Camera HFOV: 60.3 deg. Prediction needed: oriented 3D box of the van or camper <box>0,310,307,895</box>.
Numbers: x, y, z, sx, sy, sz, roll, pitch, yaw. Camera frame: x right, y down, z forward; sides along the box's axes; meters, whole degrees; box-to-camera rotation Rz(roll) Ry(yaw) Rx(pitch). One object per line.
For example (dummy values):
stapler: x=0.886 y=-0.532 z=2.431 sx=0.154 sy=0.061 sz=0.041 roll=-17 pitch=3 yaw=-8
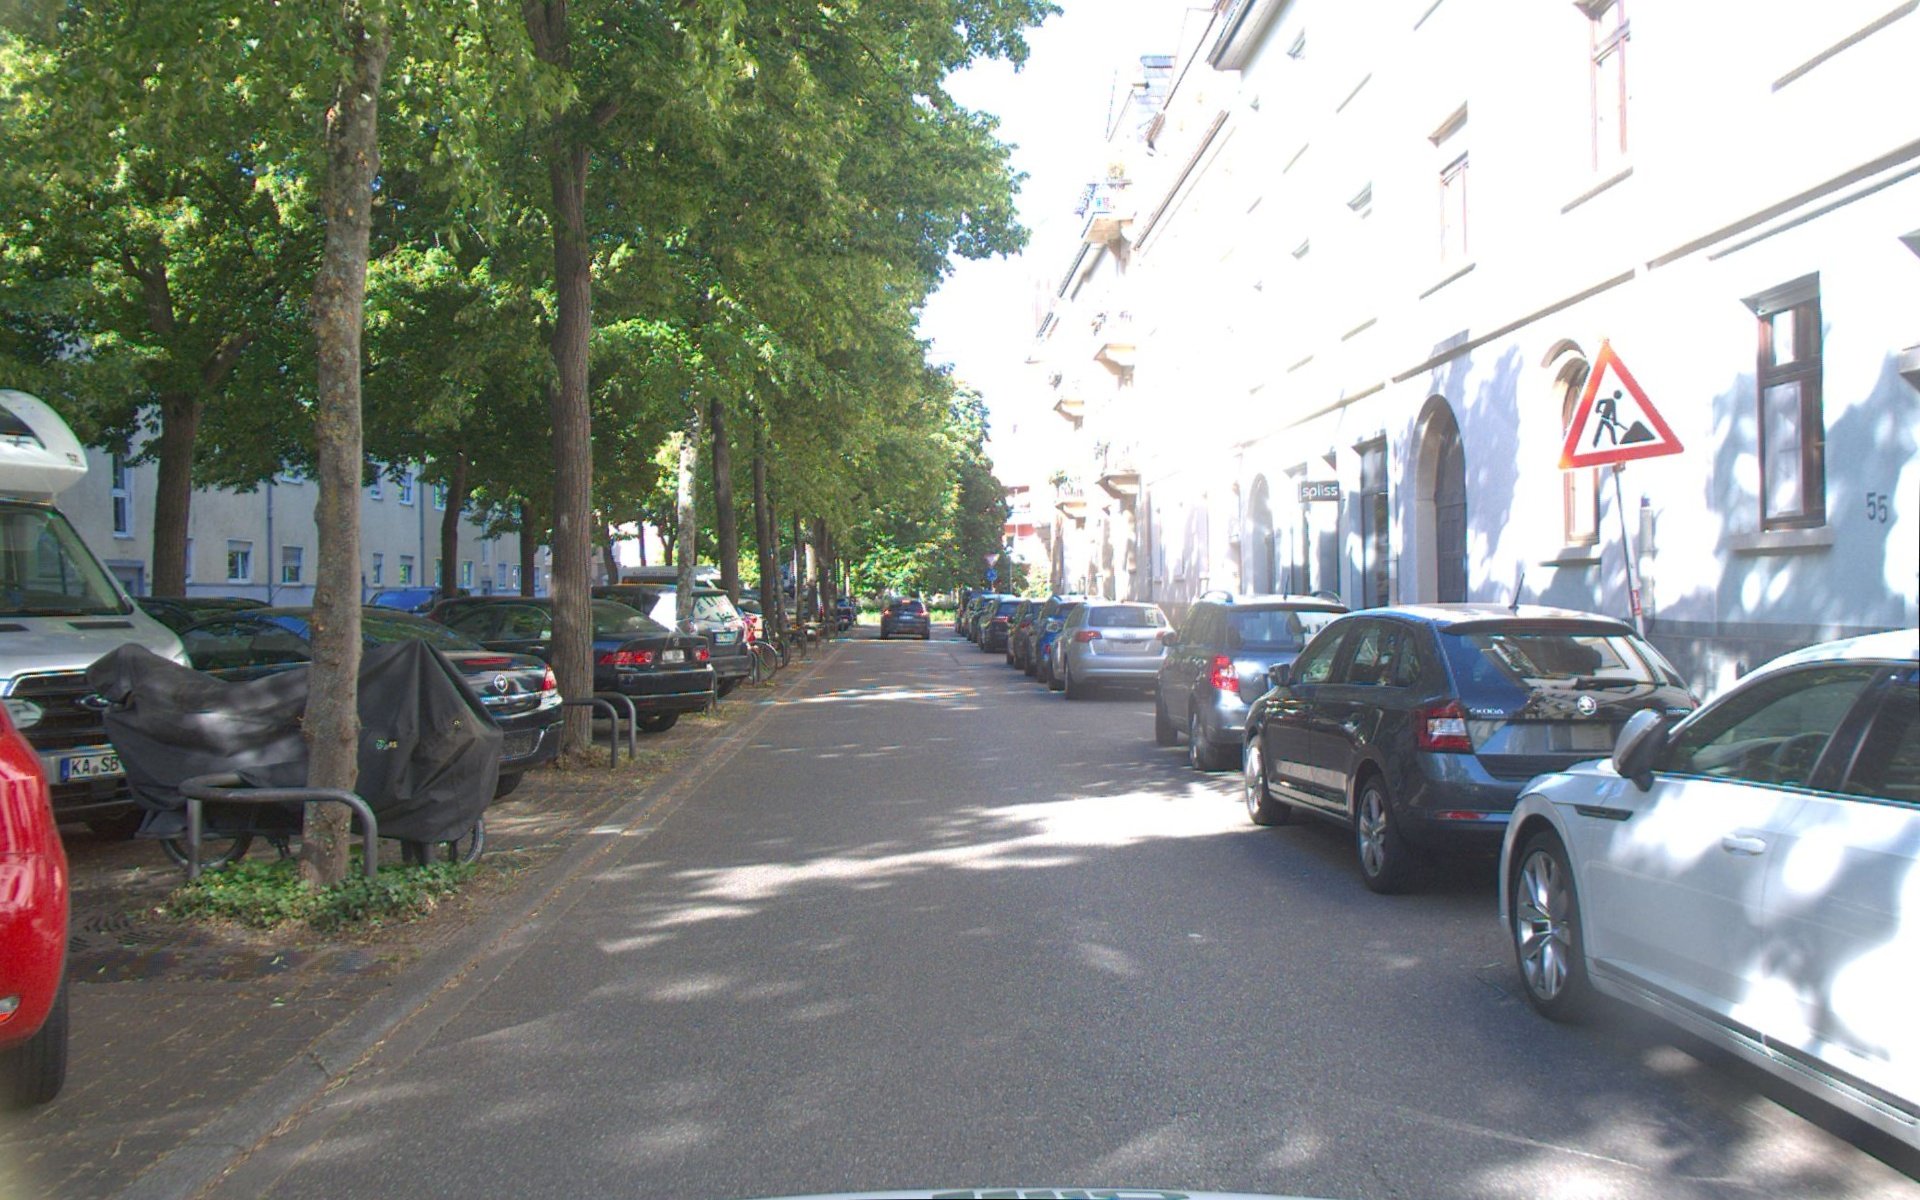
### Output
van or camper: x=-7.160 y=0.003 z=10.141 sx=6.163 sy=2.874 sz=2.405 roll=0 pitch=0 yaw=27

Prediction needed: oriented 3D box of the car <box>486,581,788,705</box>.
car: x=-4.705 y=0.574 z=24.074 sx=3.995 sy=1.682 sz=1.862 roll=0 pitch=0 yaw=25

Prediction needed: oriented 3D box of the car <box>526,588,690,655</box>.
car: x=-9.057 y=0.561 z=42.540 sx=3.829 sy=1.583 sz=1.843 roll=-2 pitch=0 yaw=29

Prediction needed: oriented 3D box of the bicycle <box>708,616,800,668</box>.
bicycle: x=-4.162 y=0.855 z=33.416 sx=1.772 sy=1.011 sz=0.426 roll=-1 pitch=0 yaw=13

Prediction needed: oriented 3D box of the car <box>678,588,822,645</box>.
car: x=-6.442 y=0.495 z=50.729 sx=4.178 sy=1.670 sz=1.653 roll=1 pitch=0 yaw=26

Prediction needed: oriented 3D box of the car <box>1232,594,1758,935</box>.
car: x=2.799 y=0.752 z=9.600 sx=1.567 sy=1.518 sz=3.964 roll=-2 pitch=0 yaw=-3

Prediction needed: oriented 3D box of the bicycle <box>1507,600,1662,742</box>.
bicycle: x=5.624 y=0.604 z=15.006 sx=0.399 sy=1.207 sz=1.843 roll=-1 pitch=0 yaw=-11

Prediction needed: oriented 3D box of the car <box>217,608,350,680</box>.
car: x=-17.139 y=1.076 z=42.124 sx=1.855 sy=1.592 sz=4.157 roll=-3 pitch=0 yaw=-4

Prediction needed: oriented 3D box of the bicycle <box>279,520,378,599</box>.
bicycle: x=-10.134 y=-0.636 z=26.604 sx=0.348 sy=1.221 sz=1.801 roll=0 pitch=0 yaw=21

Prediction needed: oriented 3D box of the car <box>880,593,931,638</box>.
car: x=-1.948 y=0.548 z=60.014 sx=1.679 sy=1.509 sz=4.144 roll=-2 pitch=0 yaw=-1

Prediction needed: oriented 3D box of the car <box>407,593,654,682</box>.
car: x=-7.648 y=0.644 z=29.434 sx=4.022 sy=1.498 sz=1.870 roll=-1 pitch=0 yaw=27

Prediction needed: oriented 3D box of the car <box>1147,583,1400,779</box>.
car: x=2.779 y=0.656 z=15.475 sx=1.548 sy=1.578 sz=4.041 roll=-1 pitch=0 yaw=-1

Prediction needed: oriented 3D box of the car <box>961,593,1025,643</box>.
car: x=1.121 y=0.613 z=58.552 sx=1.827 sy=1.672 sz=4.487 roll=1 pitch=0 yaw=-4

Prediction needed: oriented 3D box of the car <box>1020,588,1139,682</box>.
car: x=2.140 y=0.595 z=30.604 sx=1.731 sy=1.579 sz=4.182 roll=-2 pitch=0 yaw=-2

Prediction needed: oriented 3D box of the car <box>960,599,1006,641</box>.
car: x=0.889 y=0.778 z=66.752 sx=1.612 sy=1.564 sz=3.998 roll=2 pitch=0 yaw=-2

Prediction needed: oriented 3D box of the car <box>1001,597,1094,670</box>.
car: x=1.840 y=0.688 z=35.770 sx=1.658 sy=1.493 sz=4.003 roll=0 pitch=0 yaw=-2

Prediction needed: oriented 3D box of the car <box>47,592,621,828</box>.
car: x=-4.577 y=0.712 z=11.958 sx=4.066 sy=1.450 sz=1.712 roll=-1 pitch=-1 yaw=30

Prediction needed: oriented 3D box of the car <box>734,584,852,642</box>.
car: x=-5.907 y=0.477 z=58.465 sx=3.769 sy=1.921 sz=1.840 roll=-1 pitch=1 yaw=32

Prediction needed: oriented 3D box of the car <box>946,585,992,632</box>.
car: x=0.357 y=0.372 z=71.843 sx=1.765 sy=1.903 sz=4.271 roll=2 pitch=0 yaw=-2

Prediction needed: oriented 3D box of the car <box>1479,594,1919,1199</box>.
car: x=2.984 y=0.724 z=4.343 sx=1.575 sy=1.445 sz=4.566 roll=-2 pitch=0 yaw=-3

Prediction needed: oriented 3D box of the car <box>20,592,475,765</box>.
car: x=-6.886 y=0.706 z=16.026 sx=3.905 sy=1.512 sz=1.830 roll=0 pitch=-1 yaw=21

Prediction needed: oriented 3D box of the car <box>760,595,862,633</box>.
car: x=-6.196 y=0.592 z=68.536 sx=4.016 sy=1.492 sz=1.861 roll=0 pitch=-1 yaw=-12

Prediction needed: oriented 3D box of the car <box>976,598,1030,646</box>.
car: x=1.315 y=0.677 z=52.047 sx=1.558 sy=1.440 sz=3.631 roll=1 pitch=0 yaw=-1

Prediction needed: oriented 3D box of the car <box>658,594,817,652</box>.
car: x=-6.049 y=0.626 z=44.868 sx=4.016 sy=1.507 sz=1.730 roll=-1 pitch=-1 yaw=27

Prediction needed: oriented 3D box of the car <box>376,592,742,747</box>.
car: x=-4.422 y=0.732 z=18.045 sx=3.936 sy=1.499 sz=1.622 roll=-2 pitch=0 yaw=33

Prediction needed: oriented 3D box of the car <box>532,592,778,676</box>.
car: x=-5.873 y=0.614 z=31.791 sx=4.524 sy=1.512 sz=1.759 roll=0 pitch=0 yaw=27

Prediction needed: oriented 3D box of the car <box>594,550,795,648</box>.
car: x=-8.744 y=-0.008 z=54.631 sx=5.937 sy=2.668 sz=2.457 roll=-5 pitch=-2 yaw=13

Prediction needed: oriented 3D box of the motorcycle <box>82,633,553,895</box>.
motorcycle: x=-3.298 y=0.816 z=8.599 sx=2.101 sy=1.251 sz=0.882 roll=-1 pitch=0 yaw=7

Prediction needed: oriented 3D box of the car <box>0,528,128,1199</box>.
car: x=-3.807 y=0.702 z=5.228 sx=1.644 sy=1.646 sz=3.835 roll=-2 pitch=0 yaw=-33

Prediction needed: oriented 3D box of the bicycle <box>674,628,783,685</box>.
bicycle: x=-3.962 y=0.955 z=28.274 sx=1.858 sy=0.935 sz=0.379 roll=0 pitch=0 yaw=18

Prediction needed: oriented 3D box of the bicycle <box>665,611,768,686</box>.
bicycle: x=-3.944 y=0.770 z=26.759 sx=1.650 sy=1.179 sz=0.379 roll=0 pitch=0 yaw=18

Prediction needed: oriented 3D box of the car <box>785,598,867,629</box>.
car: x=-6.824 y=0.713 z=83.836 sx=4.062 sy=1.507 sz=1.768 roll=-1 pitch=-1 yaw=39

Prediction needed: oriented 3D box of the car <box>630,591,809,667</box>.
car: x=-5.423 y=0.625 z=37.303 sx=3.608 sy=1.624 sz=1.772 roll=0 pitch=0 yaw=23

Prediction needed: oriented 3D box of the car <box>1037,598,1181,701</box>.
car: x=2.236 y=0.711 z=25.796 sx=1.734 sy=1.456 sz=4.289 roll=0 pitch=0 yaw=-2

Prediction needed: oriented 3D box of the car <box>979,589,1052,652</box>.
car: x=1.468 y=0.523 z=45.468 sx=1.768 sy=1.591 sz=4.320 roll=-2 pitch=0 yaw=-1

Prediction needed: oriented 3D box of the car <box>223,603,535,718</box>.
car: x=-7.877 y=0.771 z=22.347 sx=4.109 sy=1.415 sz=1.814 roll=-1 pitch=0 yaw=32

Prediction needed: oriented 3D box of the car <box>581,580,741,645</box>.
car: x=-8.756 y=0.387 z=48.429 sx=4.293 sy=1.808 sz=1.898 roll=-1 pitch=-1 yaw=26
